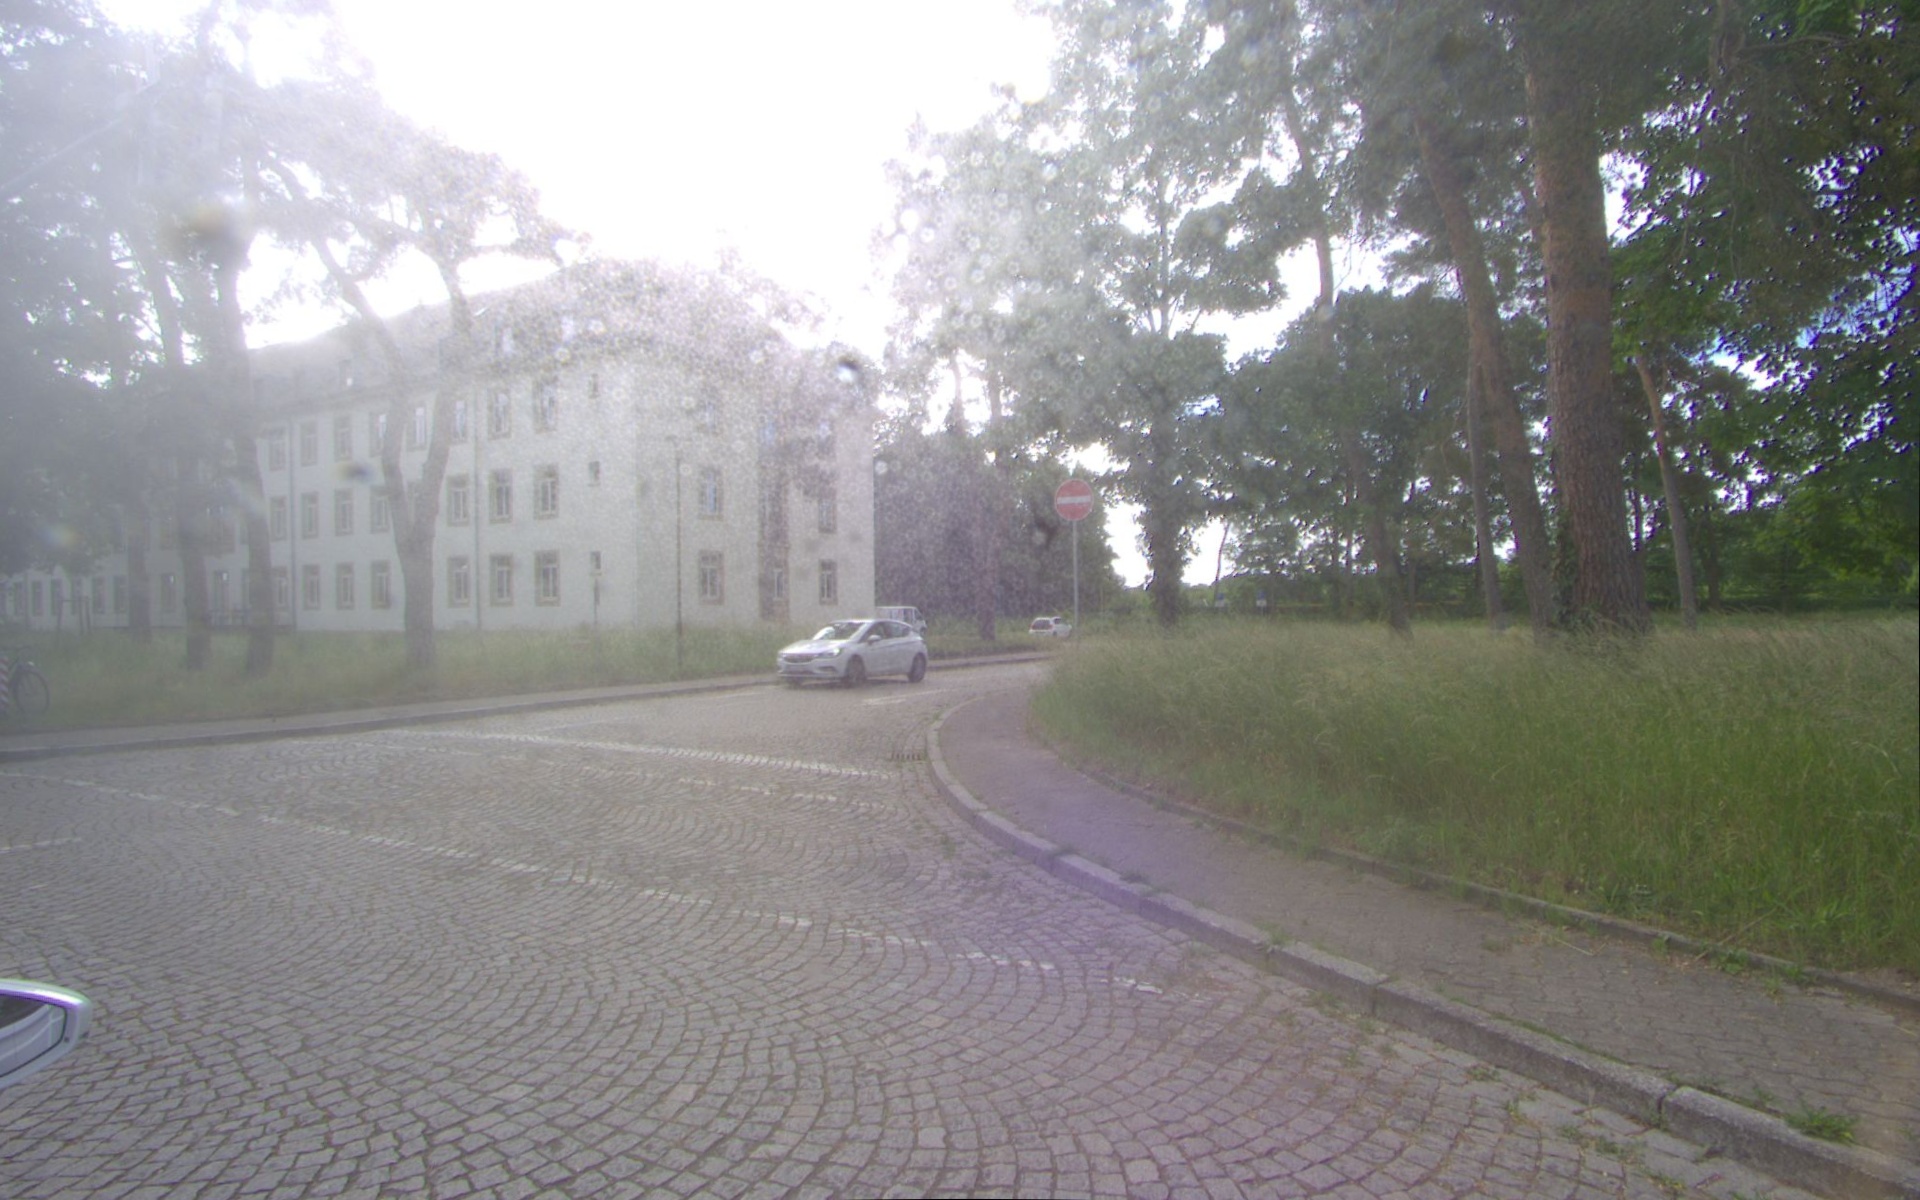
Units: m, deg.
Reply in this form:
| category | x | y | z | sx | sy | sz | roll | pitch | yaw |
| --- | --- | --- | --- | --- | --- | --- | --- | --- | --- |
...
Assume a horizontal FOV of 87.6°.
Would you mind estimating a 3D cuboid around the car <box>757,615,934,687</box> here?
| category | x | y | z | sx | sy | sz | roll | pitch | yaw |
| --- | --- | --- | --- | --- | --- | --- | --- | --- | --- |
| car | -2.461 | 1.101 | 22.605 | 1.859 | 1.434 | 4.239 | -2 | -1 | 28 |

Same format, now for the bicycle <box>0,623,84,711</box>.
| category | x | y | z | sx | sy | sz | roll | pitch | yaw |
| --- | --- | --- | --- | --- | --- | --- | --- | --- | --- |
| bicycle | -13.707 | 0.933 | 14.541 | 1.845 | 1.192 | 0.908 | -1 | 0 | 29 |

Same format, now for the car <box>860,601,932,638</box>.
| category | x | y | z | sx | sy | sz | roll | pitch | yaw |
| --- | --- | --- | --- | --- | --- | --- | --- | --- | --- |
| car | -4.148 | 1.286 | 65.437 | 2.180 | 2.318 | 5.173 | -1 | -1 | 30 |

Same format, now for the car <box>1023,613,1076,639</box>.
| category | x | y | z | sx | sy | sz | roll | pitch | yaw |
| --- | --- | --- | --- | --- | --- | --- | --- | --- | --- |
| car | 5.458 | 1.540 | 60.843 | 1.970 | 1.527 | 3.477 | -1 | -1 | 30 |
